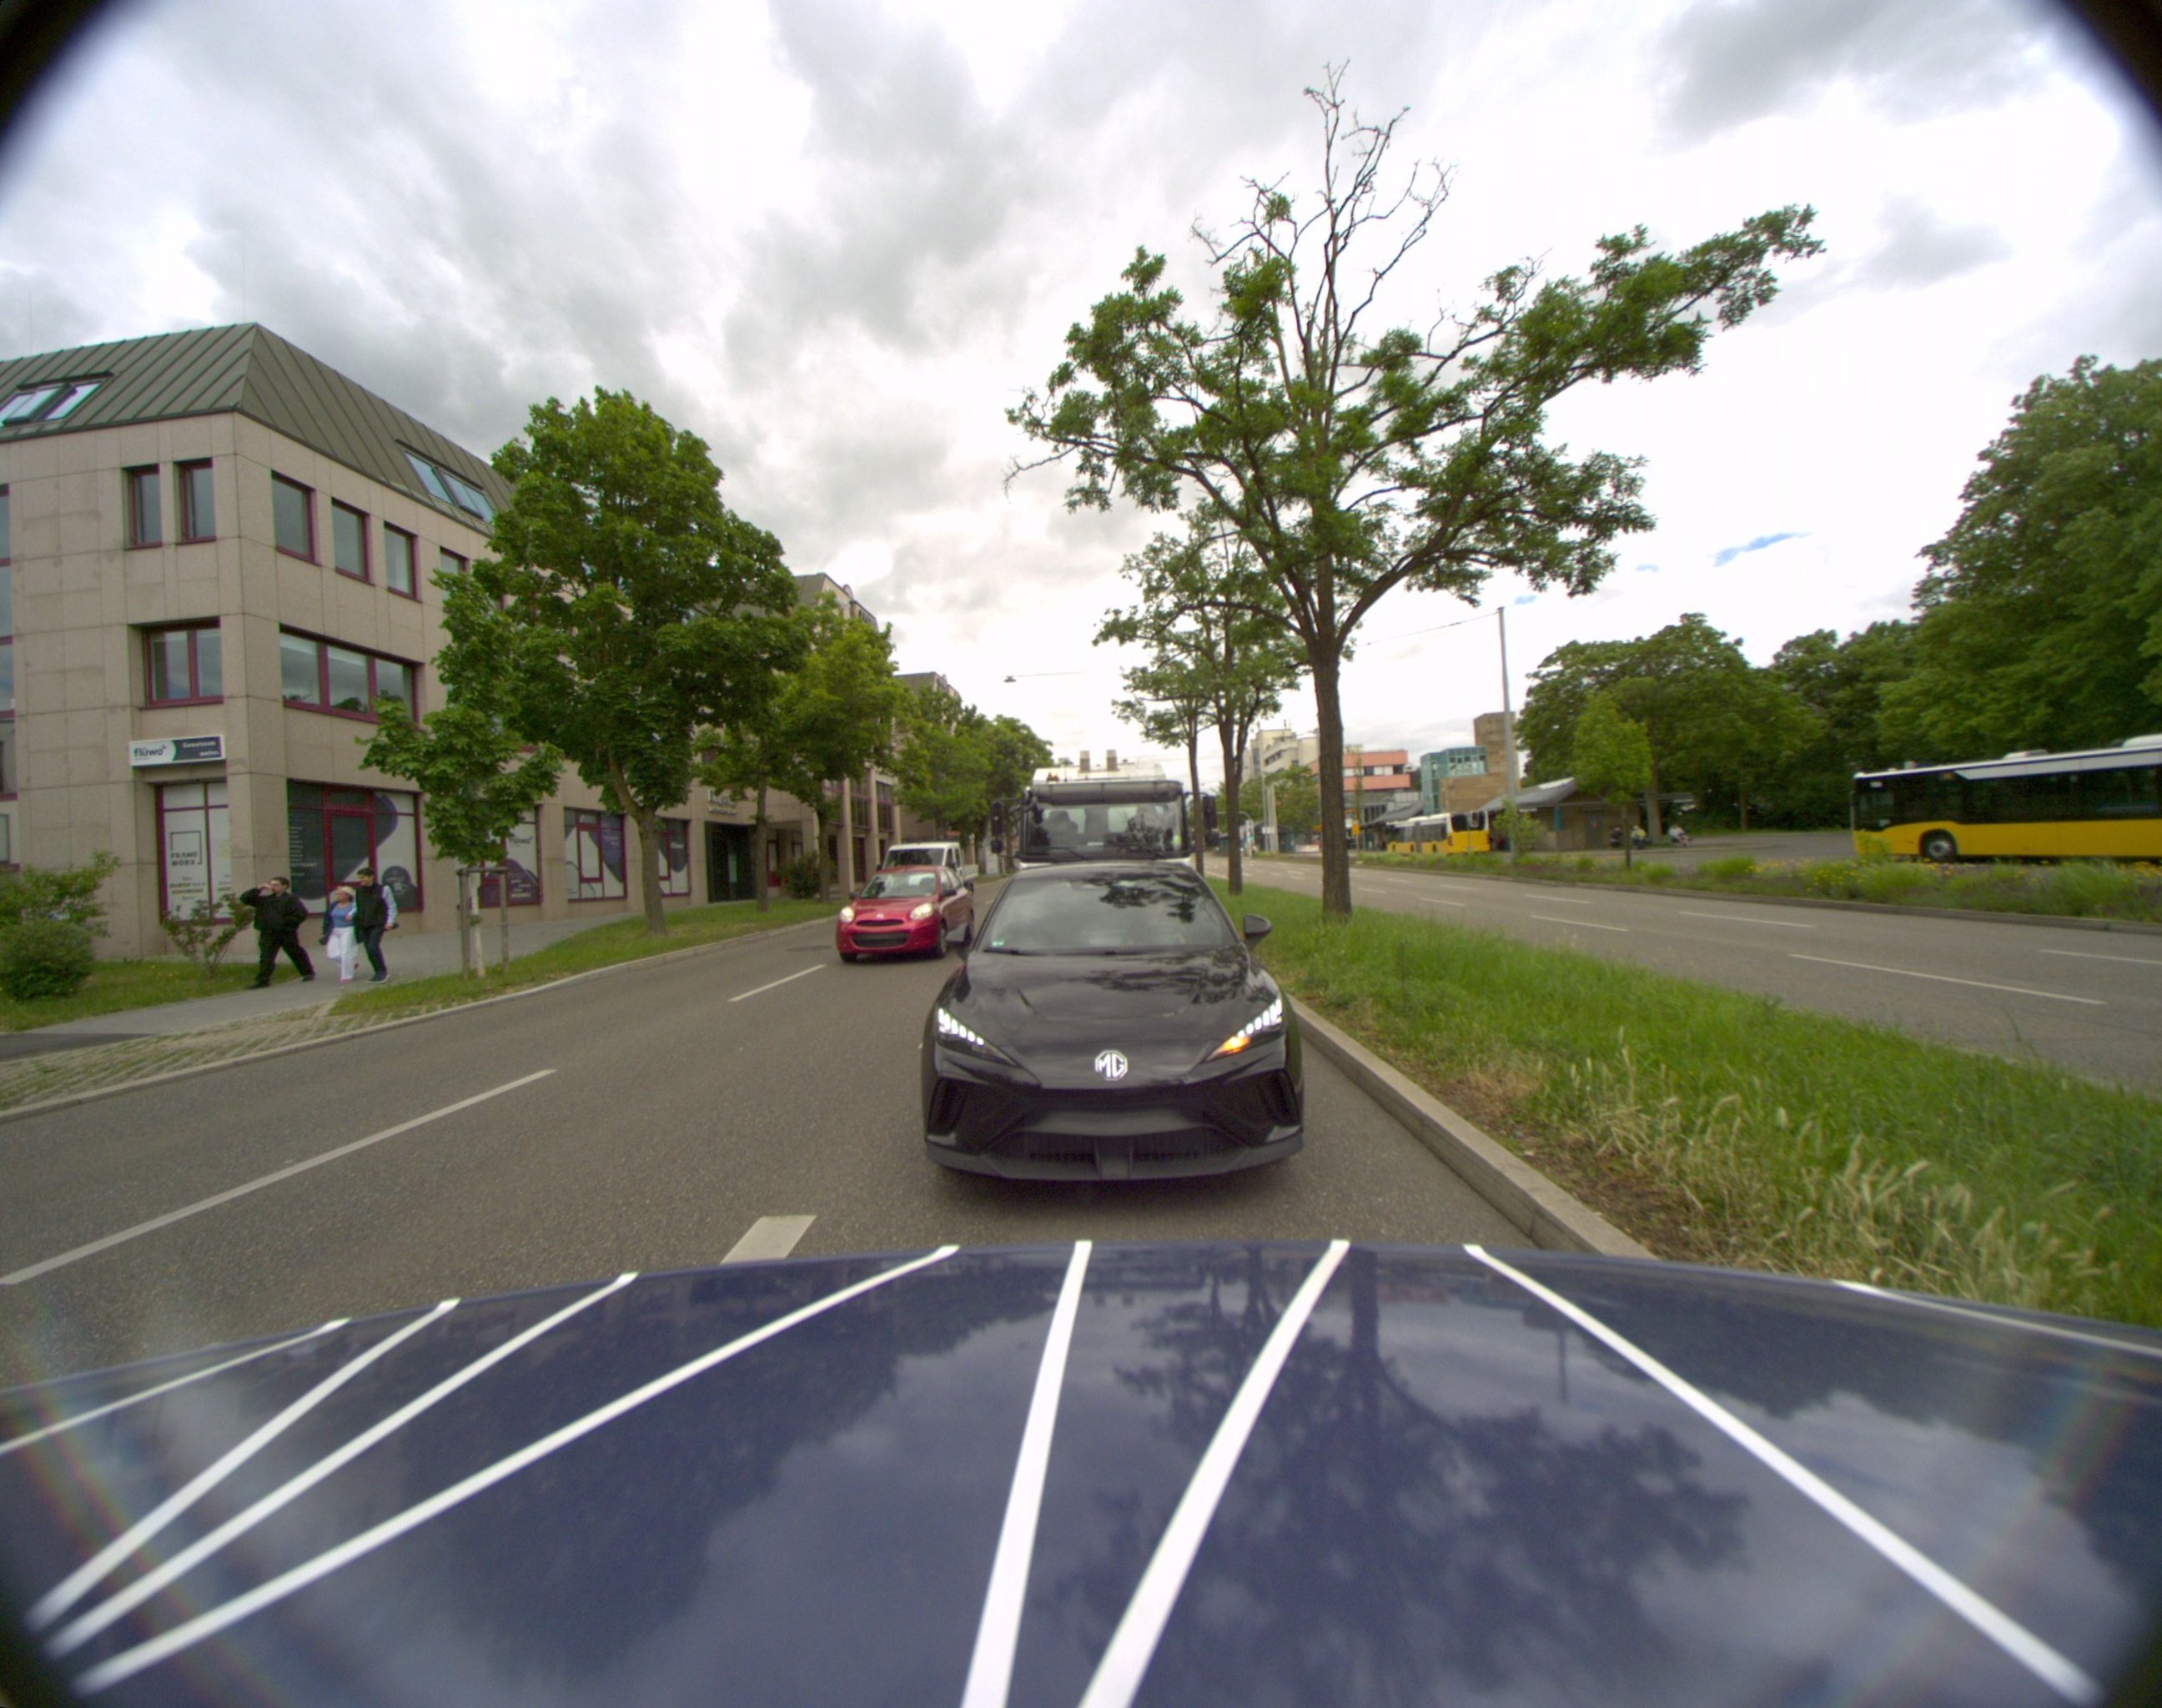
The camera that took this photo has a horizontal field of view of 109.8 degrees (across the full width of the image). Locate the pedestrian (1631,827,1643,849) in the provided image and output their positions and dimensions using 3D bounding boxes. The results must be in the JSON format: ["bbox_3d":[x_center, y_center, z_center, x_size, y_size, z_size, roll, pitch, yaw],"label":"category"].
[{"bbox_3d":[30.190,-0.893,41.287,0.367,1.160,0.899,-2,1,26],"label":"pedestrian"}]

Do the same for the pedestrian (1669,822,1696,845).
[{"bbox_3d":[31.945,-1.085,40.371,0.650,1.165,0.925,-2,1,1],"label":"pedestrian"}]

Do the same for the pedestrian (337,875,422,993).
[{"bbox_3d":[-11.247,1.266,12.200,0.642,1.795,0.677,-3,1,1],"label":"pedestrian"}]

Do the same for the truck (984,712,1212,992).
[{"bbox_3d":[0.307,-0.029,12.634,2.544,3.187,7.369,-3,0,2],"label":"truck"}]

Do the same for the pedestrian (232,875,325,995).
[{"bbox_3d":[-12.600,1.250,11.949,0.642,1.795,0.677,-3,1,1],"label":"pedestrian"}]

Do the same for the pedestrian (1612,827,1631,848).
[{"bbox_3d":[30.733,-0.935,43.213,0.599,1.155,0.743,-2,1,15],"label":"pedestrian"}]

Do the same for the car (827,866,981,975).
[{"bbox_3d":[-2.945,1.037,13.481,1.720,1.549,3.858,-1,0,1],"label":"car"}]

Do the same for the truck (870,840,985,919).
[{"bbox_3d":[-4.800,0.725,24.898,2.216,2.191,5.845,-3,1,3],"label":"truck"}]

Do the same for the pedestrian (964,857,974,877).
[{"bbox_3d":[-10.011,1.134,67.694,0.719,1.737,0.832,-2,1,-2],"label":"pedestrian"}]

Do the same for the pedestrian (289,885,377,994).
[{"bbox_3d":[-11.926,1.344,12.141,0.642,1.637,0.677,-3,1,1],"label":"pedestrian"}]

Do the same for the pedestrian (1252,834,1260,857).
[{"bbox_3d":[21.384,-1.031,92.961,0.903,2.772,1.148,-2,1,13],"label":"pedestrian"}]

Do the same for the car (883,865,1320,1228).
[{"bbox_3d":[0.115,0.866,5.291,1.827,1.430,4.000,-3,0,1],"label":"car"}]

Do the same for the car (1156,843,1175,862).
[{"bbox_3d":[9.431,-0.162,84.920,1.726,2.002,4.001,-3,0,3],"label":"car"}]

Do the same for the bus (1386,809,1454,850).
[{"bbox_3d":[27.639,-1.887,62.464,2.887,2.985,9.182,-3,0,10],"label":"bus"}]

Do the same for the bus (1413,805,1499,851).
[{"bbox_3d":[26.084,-1.715,53.401,2.887,2.793,9.182,-3,0,10],"label":"bus"}]

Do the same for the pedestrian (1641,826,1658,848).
[{"bbox_3d":[30.622,-0.906,40.957,0.598,1.155,0.744,-2,1,26],"label":"pedestrian"}]

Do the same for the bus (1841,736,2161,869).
[{"bbox_3d":[25.920,-1.238,19.630,2.888,2.985,10.397,-3,0,6],"label":"bus"}]
